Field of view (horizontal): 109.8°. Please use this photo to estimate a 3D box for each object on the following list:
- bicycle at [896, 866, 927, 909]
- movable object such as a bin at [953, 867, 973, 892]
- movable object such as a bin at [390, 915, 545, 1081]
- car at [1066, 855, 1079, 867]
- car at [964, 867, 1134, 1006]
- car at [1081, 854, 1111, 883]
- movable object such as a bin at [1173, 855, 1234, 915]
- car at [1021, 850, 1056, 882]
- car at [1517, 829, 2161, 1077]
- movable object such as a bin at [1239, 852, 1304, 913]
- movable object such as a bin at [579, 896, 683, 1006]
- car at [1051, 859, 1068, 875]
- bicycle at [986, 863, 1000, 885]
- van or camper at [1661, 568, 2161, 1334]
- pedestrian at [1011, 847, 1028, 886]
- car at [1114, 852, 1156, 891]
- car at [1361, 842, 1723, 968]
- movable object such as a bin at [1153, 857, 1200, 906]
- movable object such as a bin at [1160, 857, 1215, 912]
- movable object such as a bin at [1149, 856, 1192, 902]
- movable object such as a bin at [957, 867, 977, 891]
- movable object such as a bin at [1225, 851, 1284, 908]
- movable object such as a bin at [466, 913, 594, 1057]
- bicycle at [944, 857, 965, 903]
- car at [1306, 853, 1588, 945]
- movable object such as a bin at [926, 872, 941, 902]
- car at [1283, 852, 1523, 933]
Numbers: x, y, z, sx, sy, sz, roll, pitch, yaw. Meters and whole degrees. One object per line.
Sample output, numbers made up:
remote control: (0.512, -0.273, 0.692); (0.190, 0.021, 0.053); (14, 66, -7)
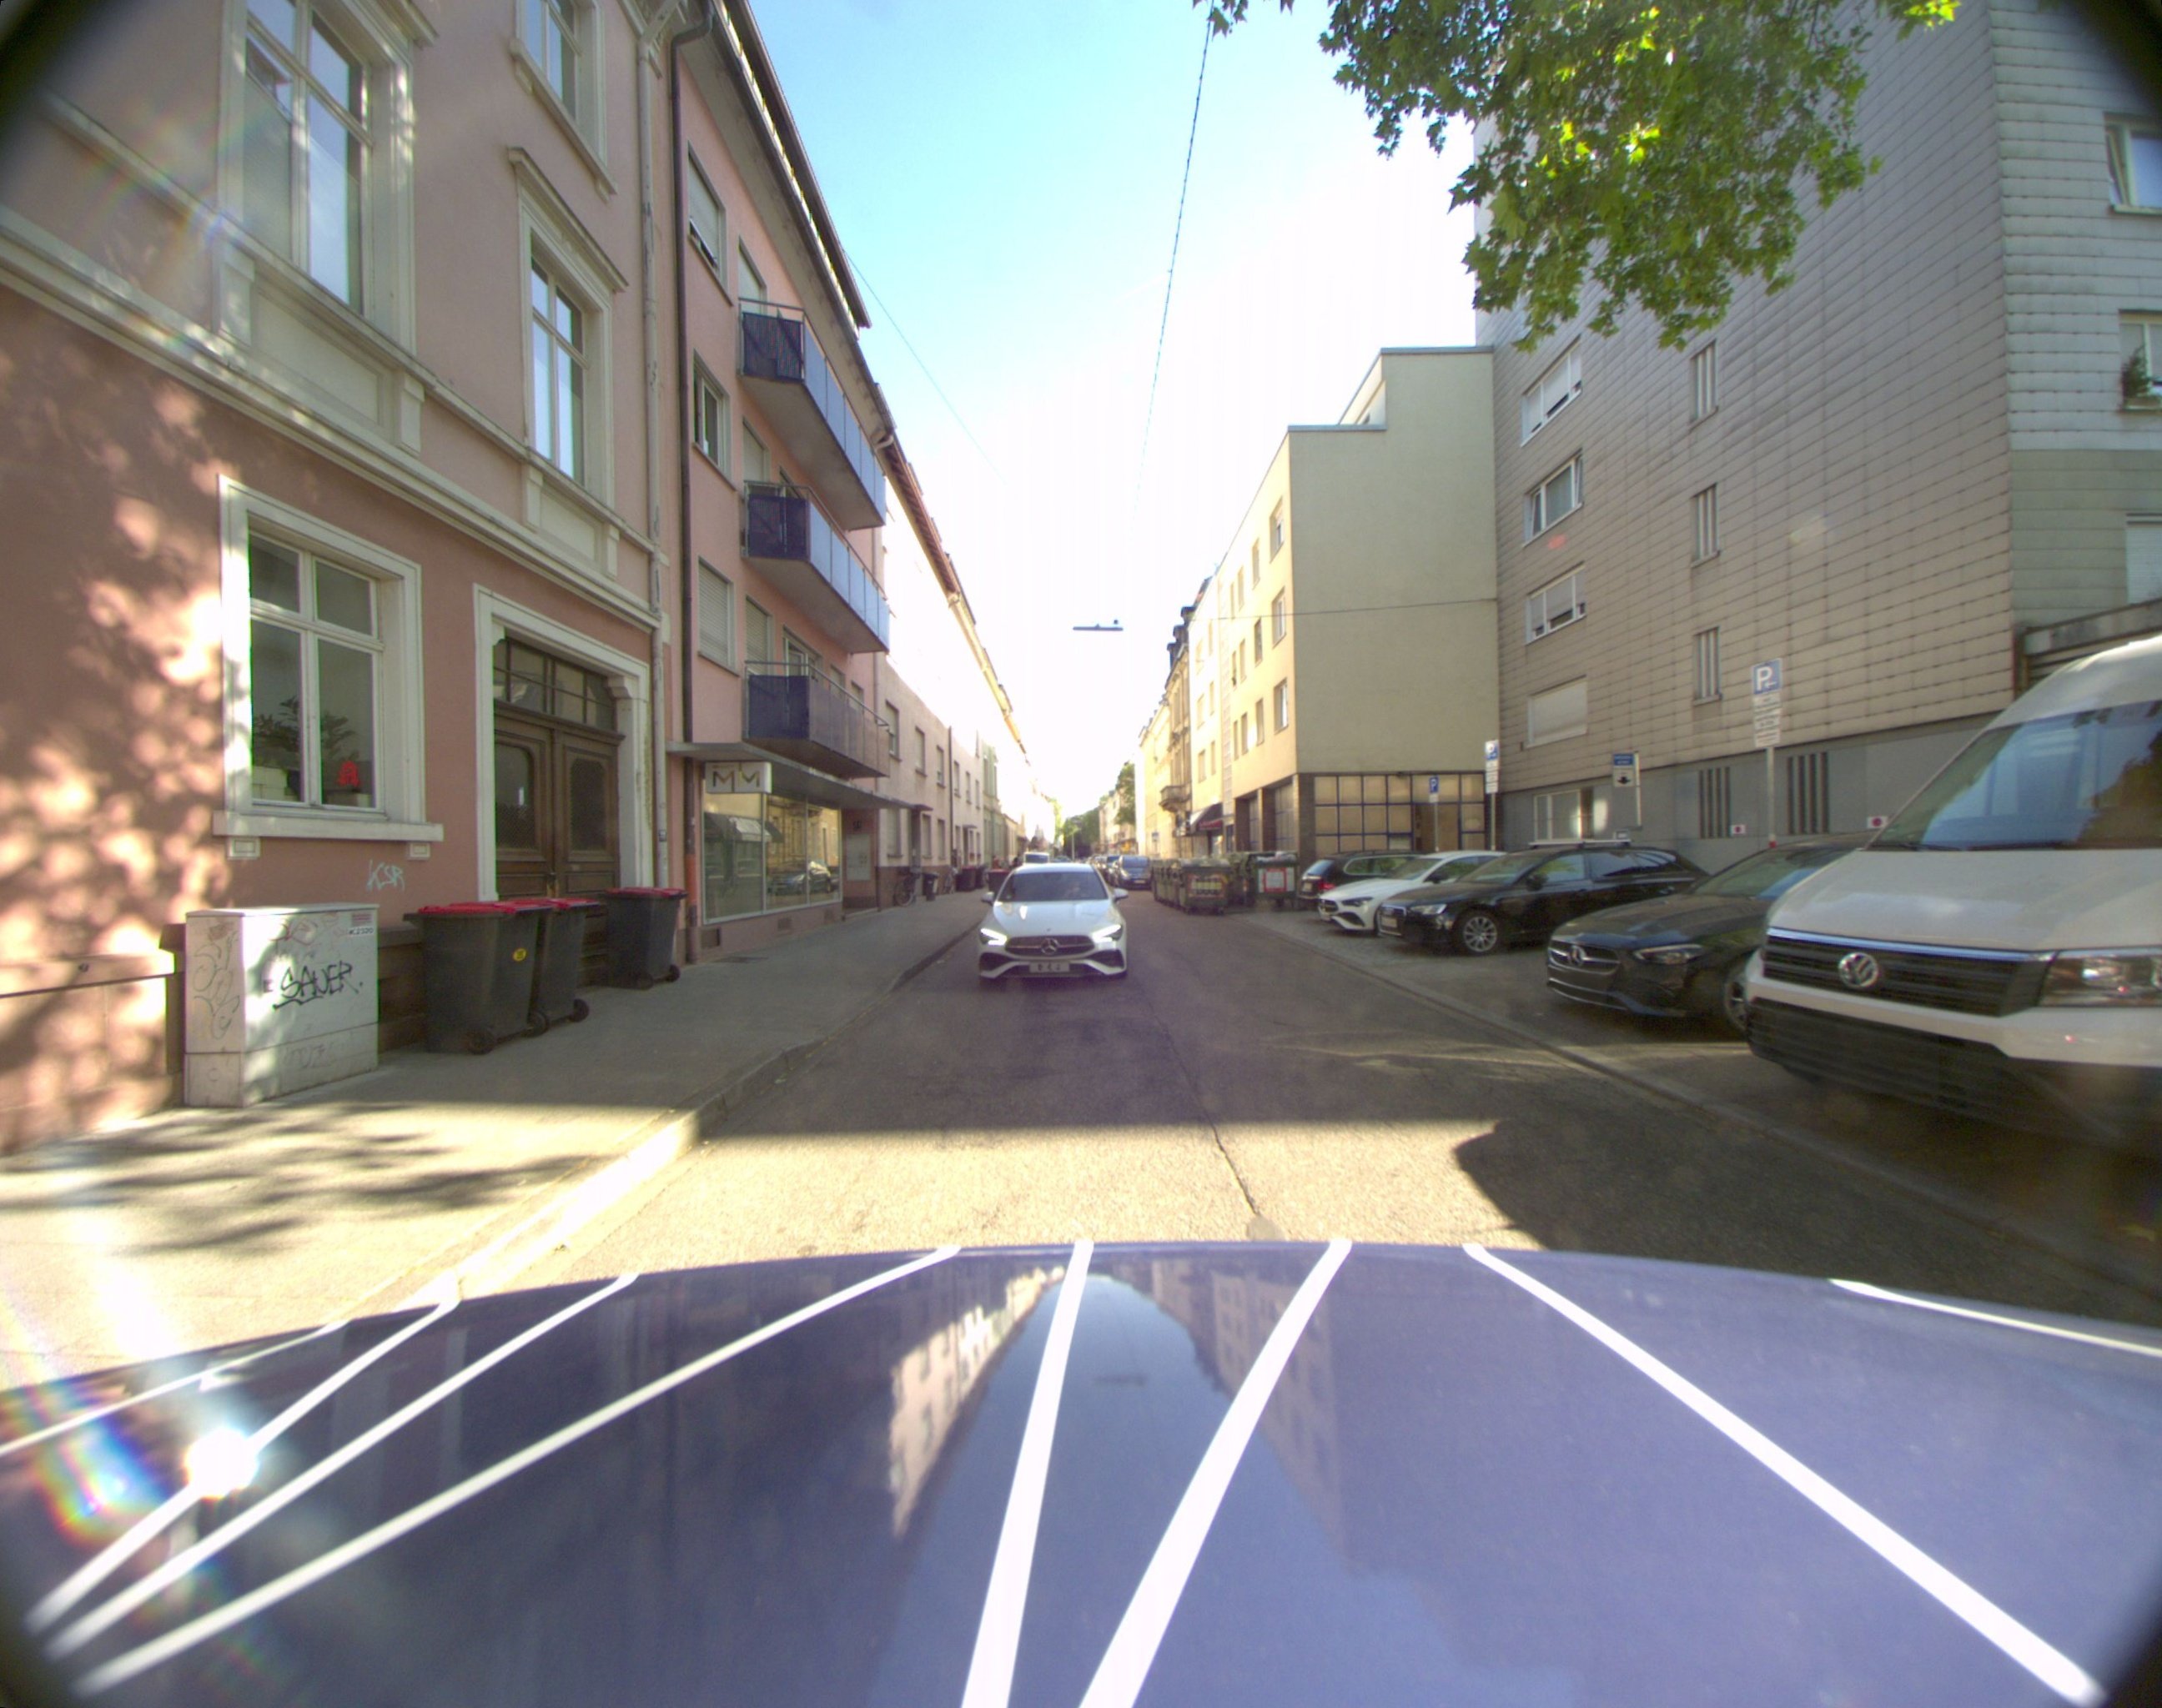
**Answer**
bicycle: (-4.871, 0.937, 21.937); (0.402, 1.143, 2.025); (-1, 0, 1)
movable object such as a bin: (-4.862, 1.063, 31.418); (0.717, 0.996, 0.546); (2, 0, -2)
movable object such as a bin: (-4.435, 1.015, 5.534); (0.570, 1.078, 0.654); (2, 0, -2)
car: (-1.175, 1.013, 109.447); (1.765, 1.698, 4.327); (-1, 0, 0)
car: (-0.329, 0.959, 10.721); (1.862, 1.448, 4.563); (-1, 0, 1)
car: (0.929, 0.871, 47.432); (1.765, 1.698, 4.328); (-1, 0, 1)
movable object such as a bin: (3.210, 0.791, 20.096); (1.241, 1.491, 1.877); (2, 0, -1)
car: (-2.507, 0.700, 45.808); (1.765, 1.843, 4.328); (-1, 0, 1)
car: (6.294, 0.689, 6.230); (4.415, 1.524, 1.699); (-3, 0, -1)
movable object such as a bin: (4.887, 0.705, 19.564); (1.328, 1.492, 1.195); (-1, 0, -2)
movable object such as a bin: (-4.774, 1.012, 8.104); (0.718, 1.078, 0.618); (2, 0, -2)
car: (-2.314, 1.449, 83.907); (1.765, 1.698, 4.327); (-1, 0, 0)
bicycle: (-4.581, 1.049, 39.721); (0.490, 1.089, 1.933); (-1, 0, 1)
van or camper: (6.997, 0.087, 3.504); (6.922, 2.559, 2.000); (-4, 0, 1)
pedestrian: (-3.121, 0.635, 38.817); (0.761, 2.002, 0.771); (-1, 0, 1)
car: (2.516, 0.786, 36.261); (1.765, 1.698, 4.328); (-1, 0, 1)
car: (6.654, 0.682, 11.209); (4.417, 1.607, 1.698); (-1, 0, -6)
movable object such as a bin: (3.024, 0.853, 24.205); (1.222, 1.491, 1.560); (-1, 0, -2)
movable object such as a bin: (3.056, 0.850, 22.121); (1.247, 1.491, 1.925); (-1, 0, -2)
movable object such as a bin: (3.015, 0.842, 25.822); (1.222, 1.491, 1.560); (-1, 0, -2)
movable object such as a bin: (-4.831, 1.054, 32.251); (0.717, 0.996, 0.546); (2, 0, -2)
movable object such as a bin: (4.762, 0.687, 21.006); (1.222, 1.491, 1.517); (-1, 0, -2)
movable object such as a bin: (-4.445, 1.035, 6.162); (0.570, 1.052, 0.612); (2, 0, -2)
bicycle: (-4.924, 0.988, 29.670); (0.402, 1.725, 2.107); (-1, 0, 1)
car: (6.544, 0.761, 13.796); (4.417, 1.454, 1.599); (-1, 0, -6)
movable object such as a bin: (-4.754, 1.069, 24.528); (0.416, 0.935, 0.302); (2, 0, -2)
car: (6.764, 0.767, 16.203); (4.417, 1.524, 1.698); (-1, 0, -6)
